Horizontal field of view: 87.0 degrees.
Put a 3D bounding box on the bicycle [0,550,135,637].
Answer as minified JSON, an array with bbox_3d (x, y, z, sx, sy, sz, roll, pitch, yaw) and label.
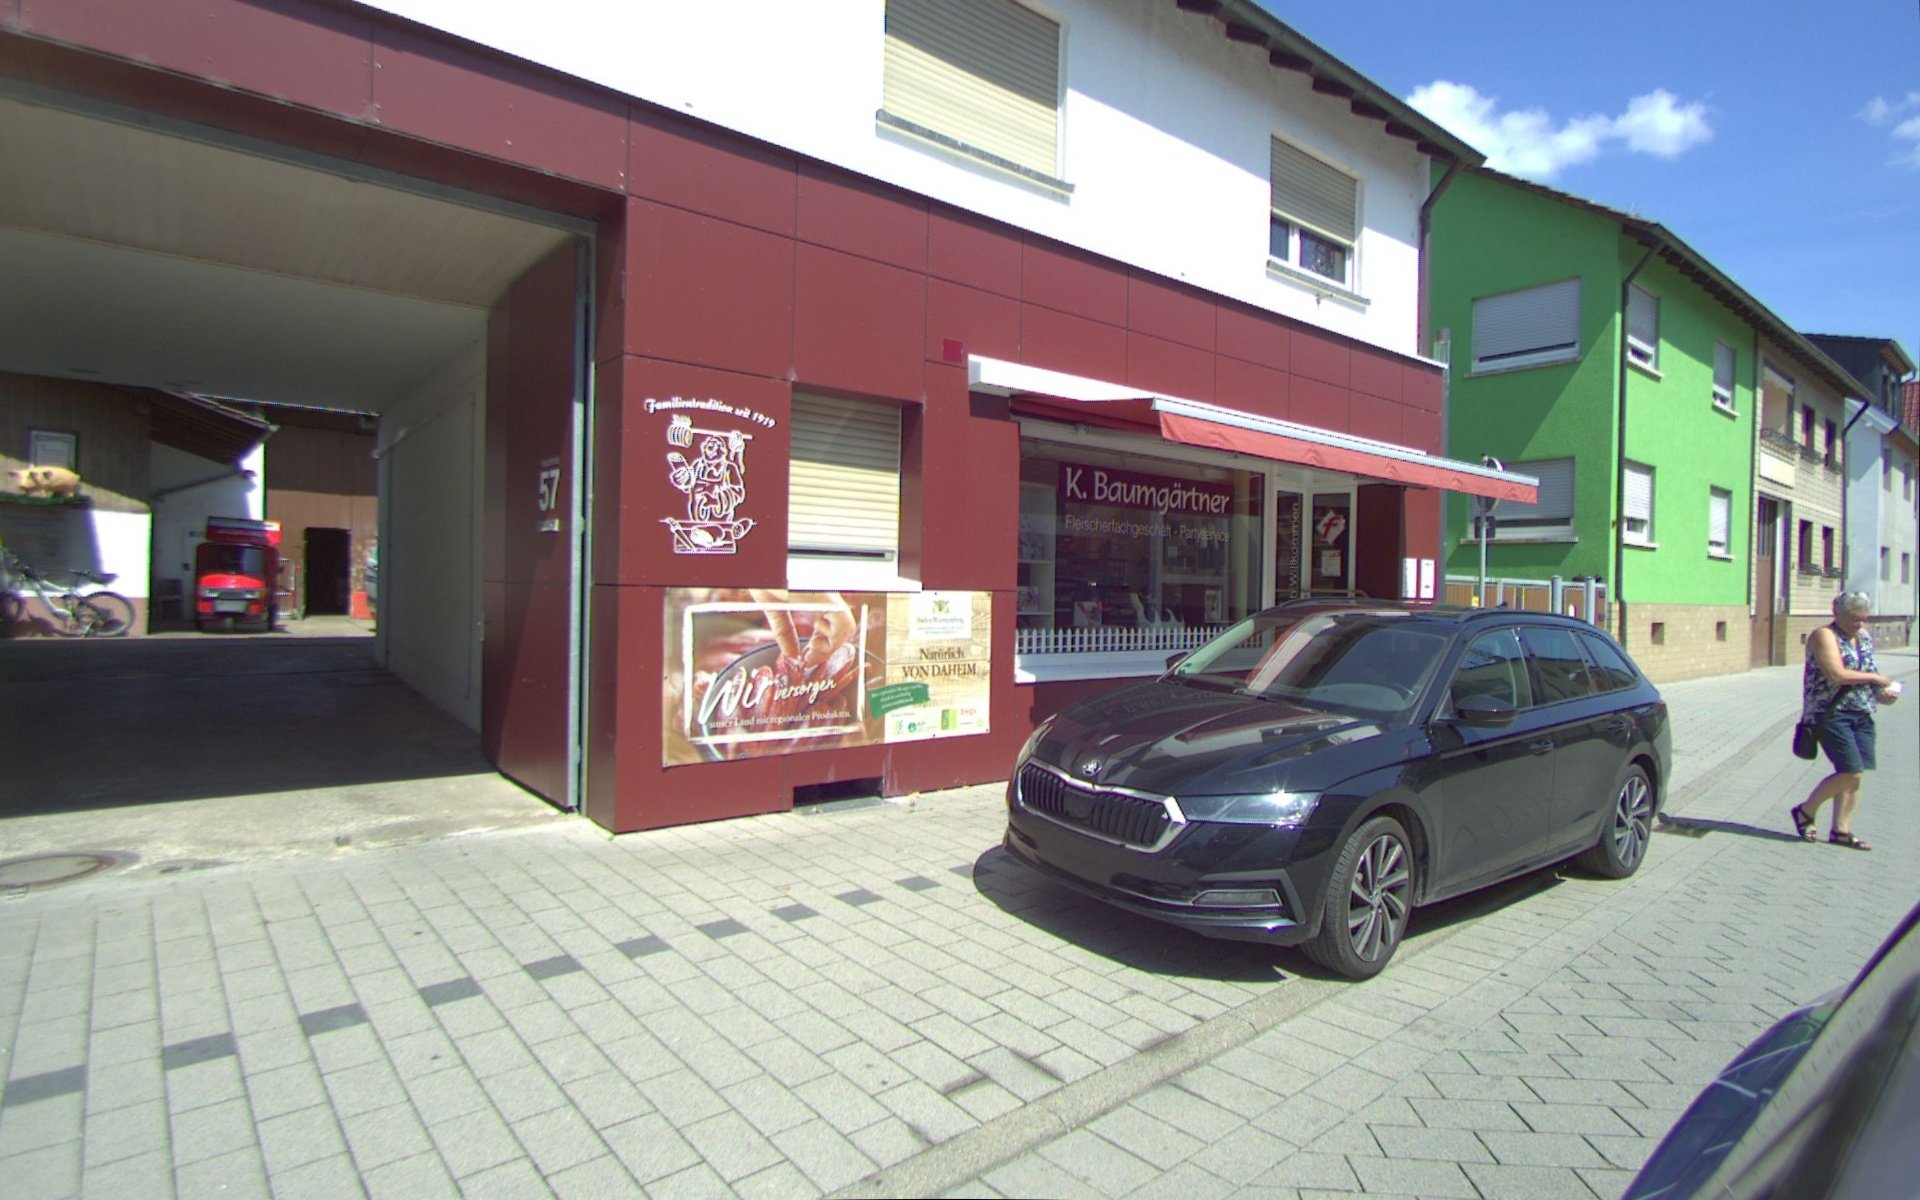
[{"bbox_3d":[-13.483,-0.101,14.824,2.132,1.221,0.656,1,1,-43],"label":"bicycle"}]

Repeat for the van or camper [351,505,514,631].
[{"bbox_3d":[-9.996,-0.499,18.960,1.963,2.039,4.865,1,-1,-36],"label":"van or camper"}]

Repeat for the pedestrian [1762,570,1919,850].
[{"bbox_3d":[5.670,0.652,6.440,0.742,1.661,0.725,0,-1,28],"label":"pedestrian"}]

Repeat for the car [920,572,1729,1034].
[{"bbox_3d":[2.185,0.679,5.454,4.499,1.477,1.864,1,3,-36],"label":"car"}]

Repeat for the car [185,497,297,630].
[{"bbox_3d":[-13.109,-0.612,18.378,1.449,2.172,3.742,1,0,-38],"label":"car"}]
